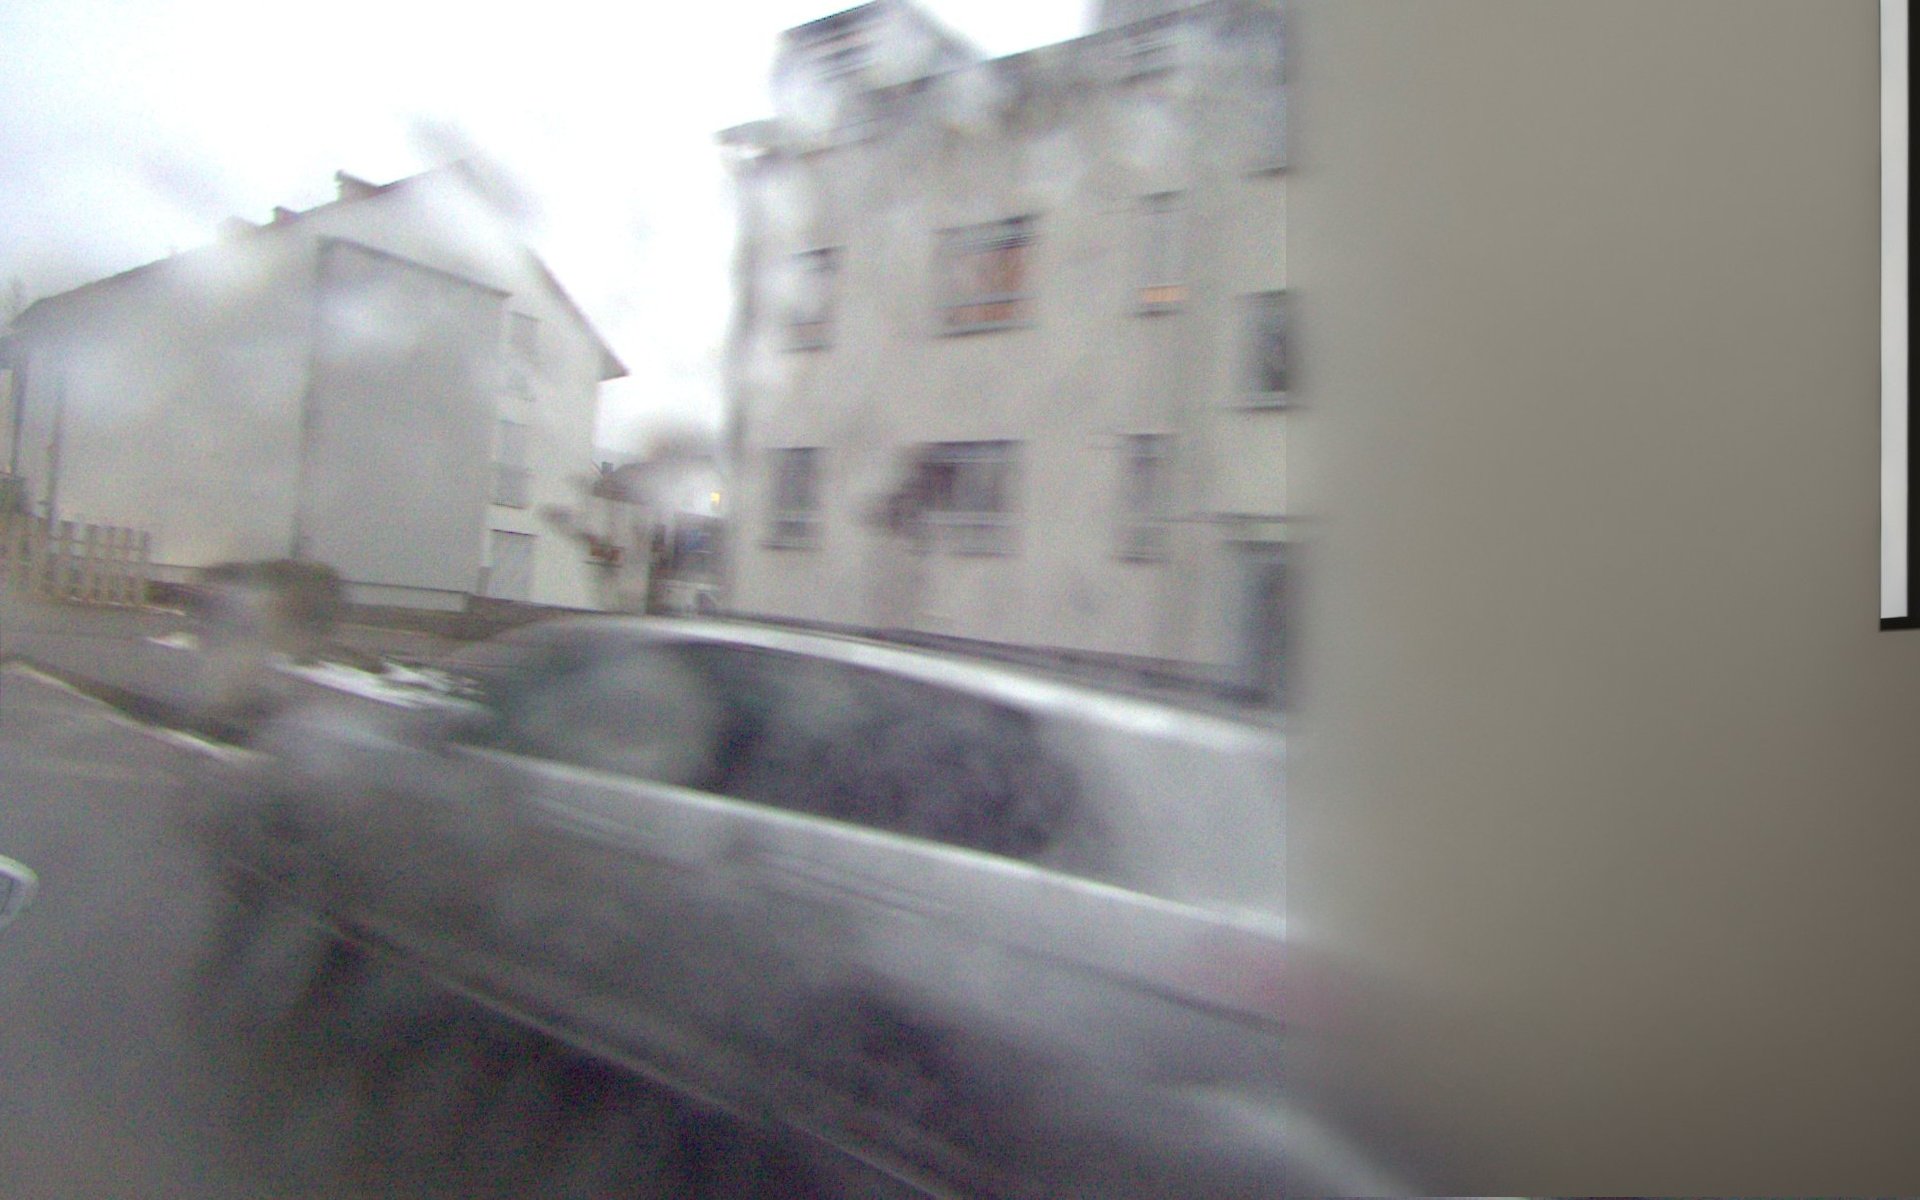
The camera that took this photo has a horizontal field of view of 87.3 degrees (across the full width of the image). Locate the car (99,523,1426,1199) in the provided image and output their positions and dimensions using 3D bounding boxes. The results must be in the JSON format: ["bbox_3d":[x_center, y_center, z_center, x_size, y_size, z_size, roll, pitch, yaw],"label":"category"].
[{"bbox_3d":[-0.900,0.732,3.546,4.381,1.446,1.743,7,-2,30],"label":"car"}]
